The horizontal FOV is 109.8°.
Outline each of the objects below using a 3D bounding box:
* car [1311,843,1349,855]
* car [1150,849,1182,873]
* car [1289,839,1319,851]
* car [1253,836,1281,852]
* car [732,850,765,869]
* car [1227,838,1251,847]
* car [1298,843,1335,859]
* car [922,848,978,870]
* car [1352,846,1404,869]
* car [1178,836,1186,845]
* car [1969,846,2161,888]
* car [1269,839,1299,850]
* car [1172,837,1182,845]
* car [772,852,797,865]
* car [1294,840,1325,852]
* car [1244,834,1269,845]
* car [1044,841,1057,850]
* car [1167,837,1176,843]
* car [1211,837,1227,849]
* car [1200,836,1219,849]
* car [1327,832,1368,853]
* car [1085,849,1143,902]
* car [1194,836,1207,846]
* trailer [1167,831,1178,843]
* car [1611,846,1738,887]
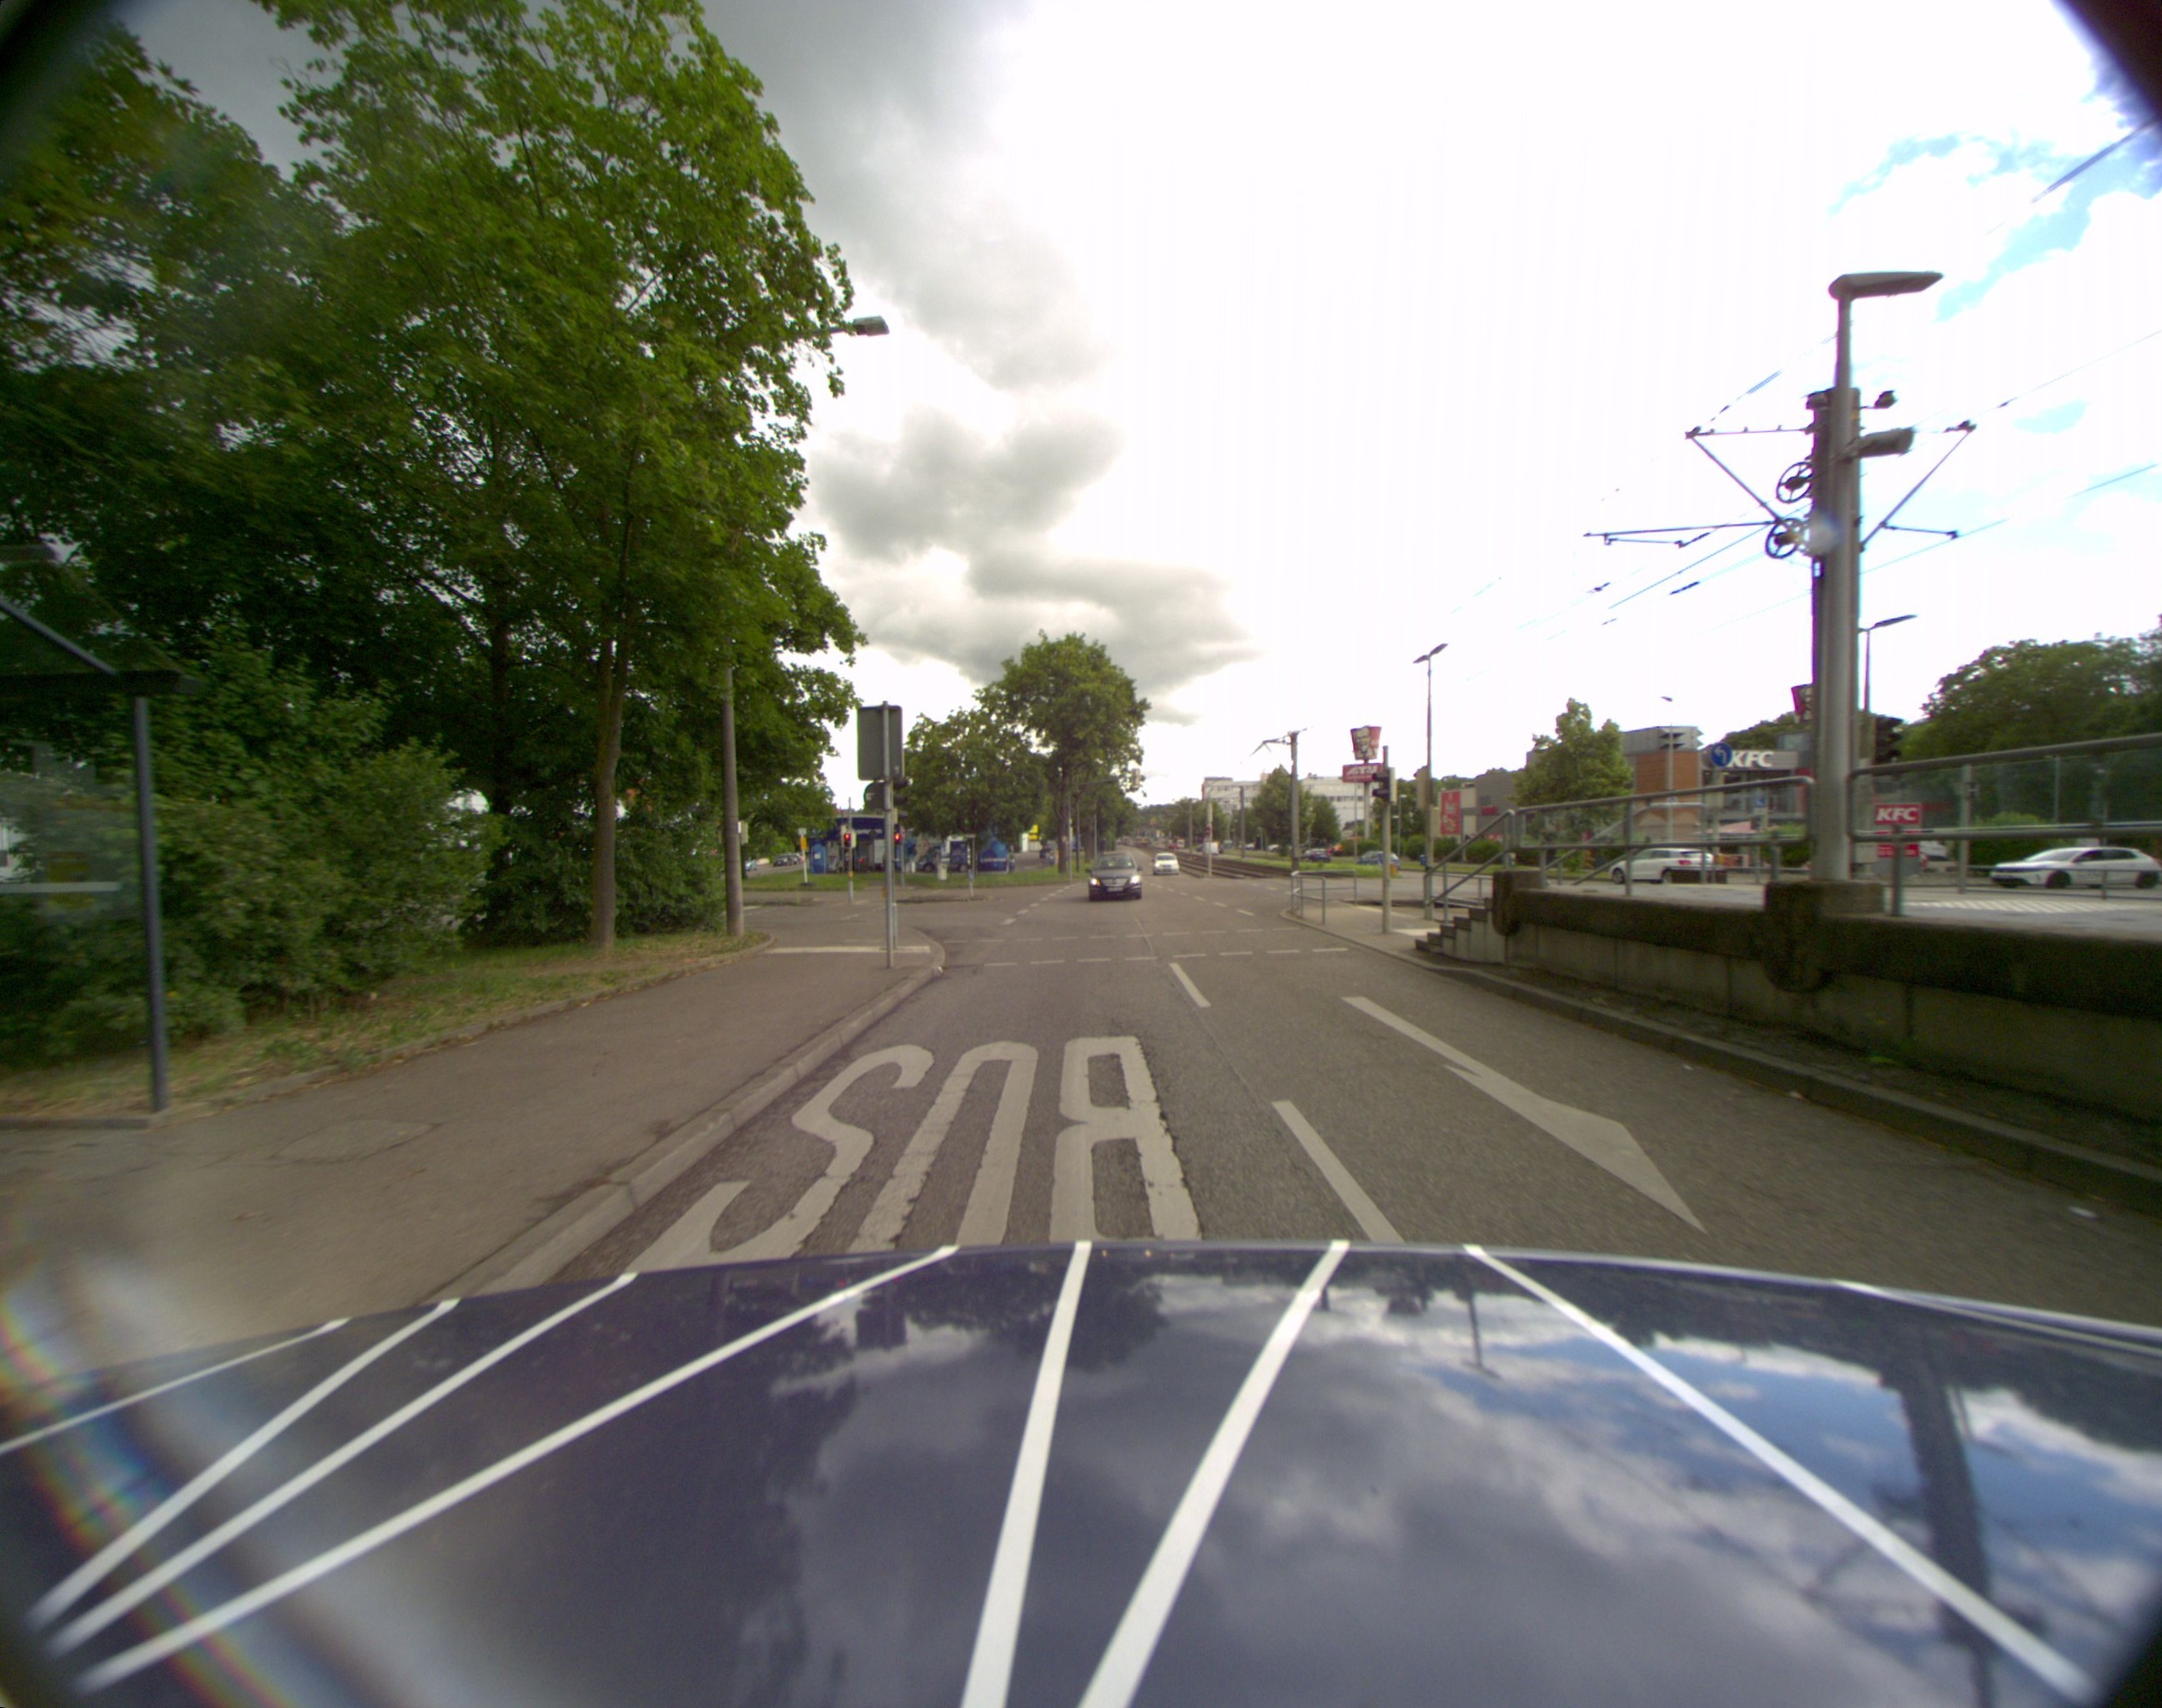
[{"bbox_3d":[30.923,-0.656,94.377,3.996,1.229,2.000,-3,1,3],"label":"car"},{"bbox_3d":[5.852,0.452,52.844,1.786,1.436,3.999,-3,1,1],"label":"car"},{"bbox_3d":[33.434,-1.338,113.928,3.996,1.498,2.002,-3,1,3],"label":"car"},{"bbox_3d":[33.759,-1.849,137.916,4.480,2.733,2.289,0,2,3],"label":"car"},{"bbox_3d":[-33.864,0.531,77.477,1.948,1.832,4.462,-4,1,-10],"label":"car"},{"bbox_3d":[32.274,-2.363,155.608,4.610,1.484,2.000,-3,1,6],"label":"car"},{"bbox_3d":[22.316,-0.289,72.117,1.999,1.473,4.506,1,0,-1],"label":"car"},{"bbox_3d":[-10.462,0.380,60.480,4.215,1.687,1.837,-1,1,-16],"label":"car"},{"bbox_3d":[19.375,0.183,49.732,1.599,1.438,4.051,0,1,-3],"label":"car"},{"bbox_3d":[29.038,-3.975,218.668,1.873,2.485,5.999,1,1,2],"label":"car"},{"bbox_3d":[34.338,0.432,26.615,3.885,1.400,1.848,0,1,11],"label":"car"},{"bbox_3d":[34.437,-1.609,128.844,4.481,1.498,1.795,-3,1,0],"label":"car"},{"bbox_3d":[24.589,-3.381,195.000,1.999,2.002,3.999,1,1,-1],"label":"car"},{"bbox_3d":[-36.877,0.564,94.667,2.000,1.456,3.996,-3,1,-9],"label":"car"},{"bbox_3d":[33.463,-1.135,111.461,3.996,1.498,1.937,-3,1,3],"label":"car"},{"bbox_3d":[34.009,-2.856,147.268,4.354,1.908,2.000,-3,1,6],"label":"car"},{"bbox_3d":[-6.010,-1.669,148.773,1.998,1.629,4.326,2,1,4],"label":"car"},{"bbox_3d":[24.551,-3.747,206.101,1.788,1.573,4.480,0,1,-2],"label":"car"},{"bbox_3d":[24.235,-1.990,133.596,1.999,2.002,4.105,-1,1,-1],"label":"car"},{"bbox_3d":[20.033,-1.795,118.537,1.999,2.002,4.883,0,1,-3],"label":"car"},{"bbox_3d":[31.222,-1.329,89.029,3.996,2.153,2.058,-3,1,3],"label":"car"},{"bbox_3d":[1.162,0.669,26.418,1.786,1.614,4.000,-3,0,3],"label":"car"},{"bbox_3d":[24.725,-2.688,157.087,1.999,2.002,4.246,-1,1,-1],"label":"car"},{"bbox_3d":[30.400,-5.630,252.480,2.677,3.875,14.425,1,1,3],"label":"trailer"},{"bbox_3d":[23.124,0.425,29.794,1.690,1.437,3.998,1,1,-3],"label":"car"}]
